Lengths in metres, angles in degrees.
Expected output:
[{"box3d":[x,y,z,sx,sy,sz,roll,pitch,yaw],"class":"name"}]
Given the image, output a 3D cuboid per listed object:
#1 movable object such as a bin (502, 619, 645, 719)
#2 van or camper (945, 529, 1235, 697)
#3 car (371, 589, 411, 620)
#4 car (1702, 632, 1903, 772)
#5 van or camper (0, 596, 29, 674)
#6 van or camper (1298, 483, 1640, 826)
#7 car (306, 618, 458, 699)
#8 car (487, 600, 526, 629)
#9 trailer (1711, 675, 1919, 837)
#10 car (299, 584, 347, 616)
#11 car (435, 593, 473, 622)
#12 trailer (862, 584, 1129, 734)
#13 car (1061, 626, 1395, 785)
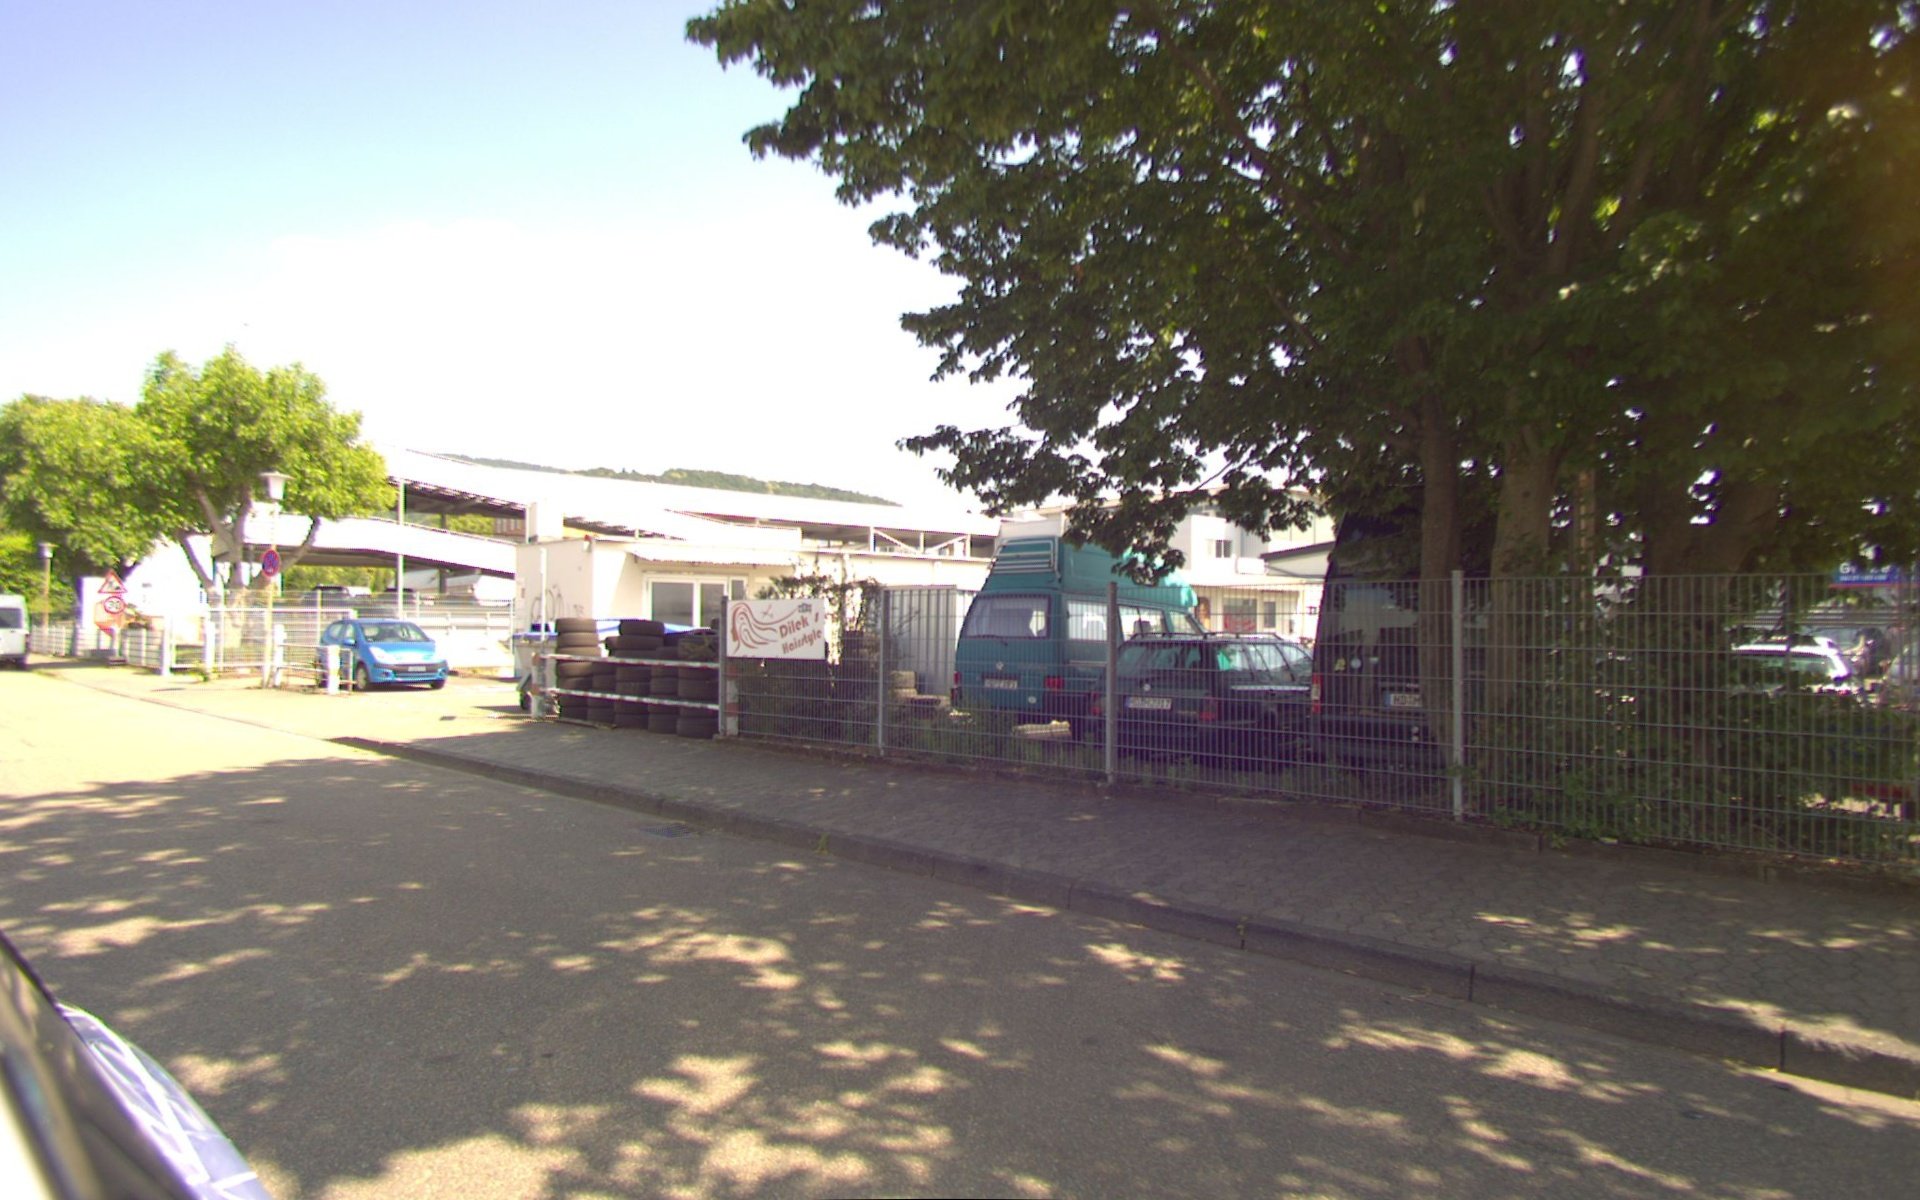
[{"box3d":[-6.016,1.002,15.688,1.364,1.368,2.105,-1,1,-44],"class":"movable object such as a bin"},{"box3d":[1.860,0.113,13.444,1.774,1.877,4.137,0,1,42],"class":"van or camper"},{"box3d":[-28.857,0.218,51.375,1.680,1.469,3.536,-1,0,-28],"class":"car"},{"box3d":[10.461,1.139,12.665,1.683,1.463,3.735,-1,-2,39],"class":"car"},{"box3d":[-31.527,1.076,32.325,4.682,2.395,2.002,0,-3,40],"class":"van or camper"},{"box3d":[5.215,0.479,10.007,1.846,2.596,4.605,0,-2,42],"class":"van or camper"},{"box3d":[-12.152,1.156,21.210,3.522,1.469,1.624,0,1,40],"class":"car"},{"box3d":[-24.407,0.769,54.536,1.680,1.469,3.537,-1,0,-21],"class":"car"},{"box3d":[7.210,1.140,8.086,1.612,0.946,3.246,-1,-3,42],"class":"trailer"},{"box3d":[-31.064,0.029,49.407,1.680,1.469,3.536,1,-2,-28],"class":"car"},{"box3d":[-26.657,0.373,53.284,1.680,1.469,3.536,-1,0,-28],"class":"car"},{"box3d":[0.747,0.830,17.162,1.999,2.171,4.720,0,1,41],"class":"trailer"},{"box3d":[3.026,1.000,10.986,1.860,1.397,3.871,-2,-3,44],"class":"car"}]
